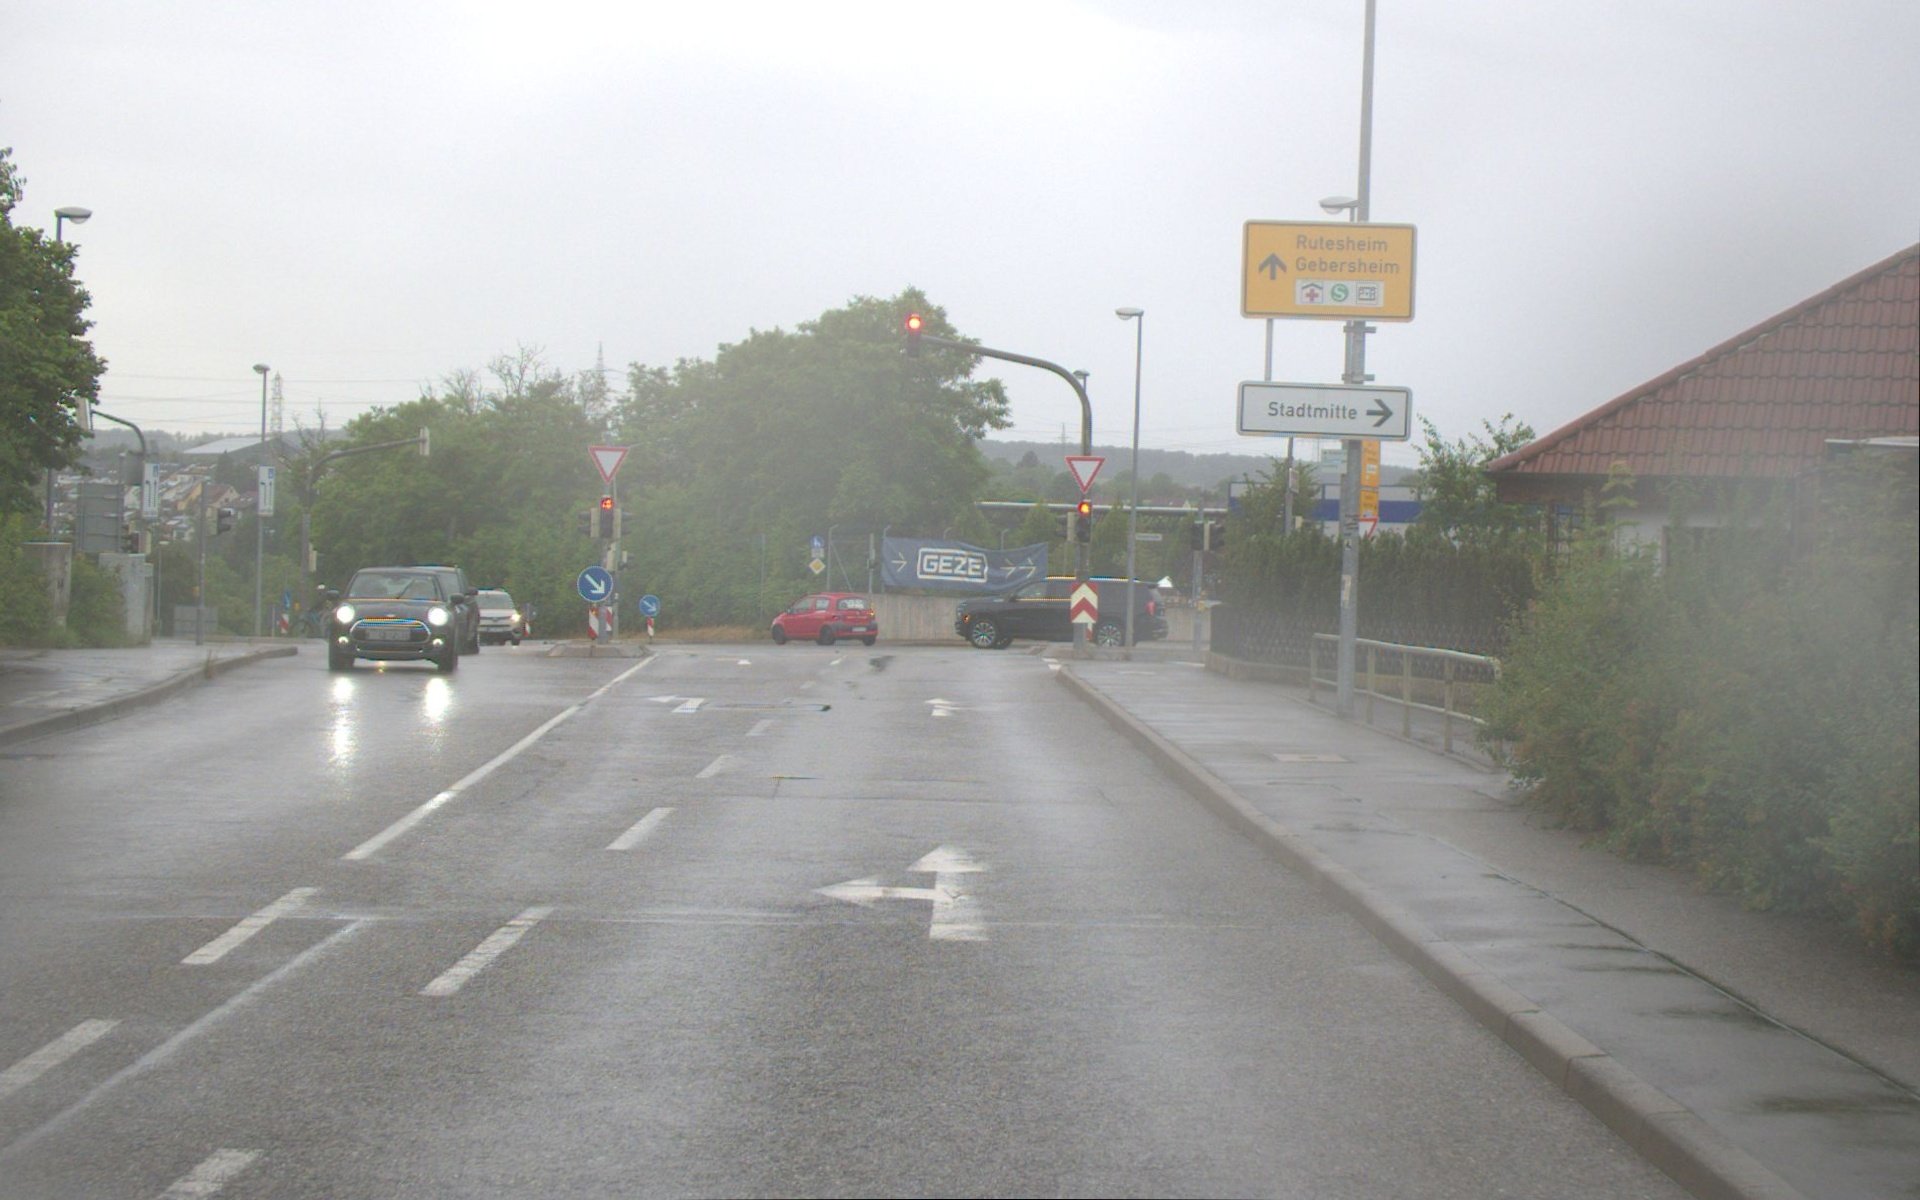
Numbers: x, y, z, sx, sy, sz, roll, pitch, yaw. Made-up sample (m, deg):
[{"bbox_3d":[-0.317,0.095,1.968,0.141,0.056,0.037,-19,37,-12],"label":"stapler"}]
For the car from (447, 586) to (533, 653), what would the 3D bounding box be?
[{"bbox_3d":[-15.025,0.602,109.746,1.993,2.007,4.001,-1,1,-19],"label":"car"}]

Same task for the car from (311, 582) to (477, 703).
[{"bbox_3d":[-7.935,0.568,48.464,1.805,1.518,4.001,2,1,-3],"label":"car"}]

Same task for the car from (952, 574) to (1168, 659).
[{"bbox_3d":[2.687,0.440,91.394,5.468,2.007,1.999,-2,1,9],"label":"car"}]

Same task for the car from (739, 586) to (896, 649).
[{"bbox_3d":[-4.198,0.523,100.639,2.298,1.684,4.756,-3,1,-36],"label":"car"}]
